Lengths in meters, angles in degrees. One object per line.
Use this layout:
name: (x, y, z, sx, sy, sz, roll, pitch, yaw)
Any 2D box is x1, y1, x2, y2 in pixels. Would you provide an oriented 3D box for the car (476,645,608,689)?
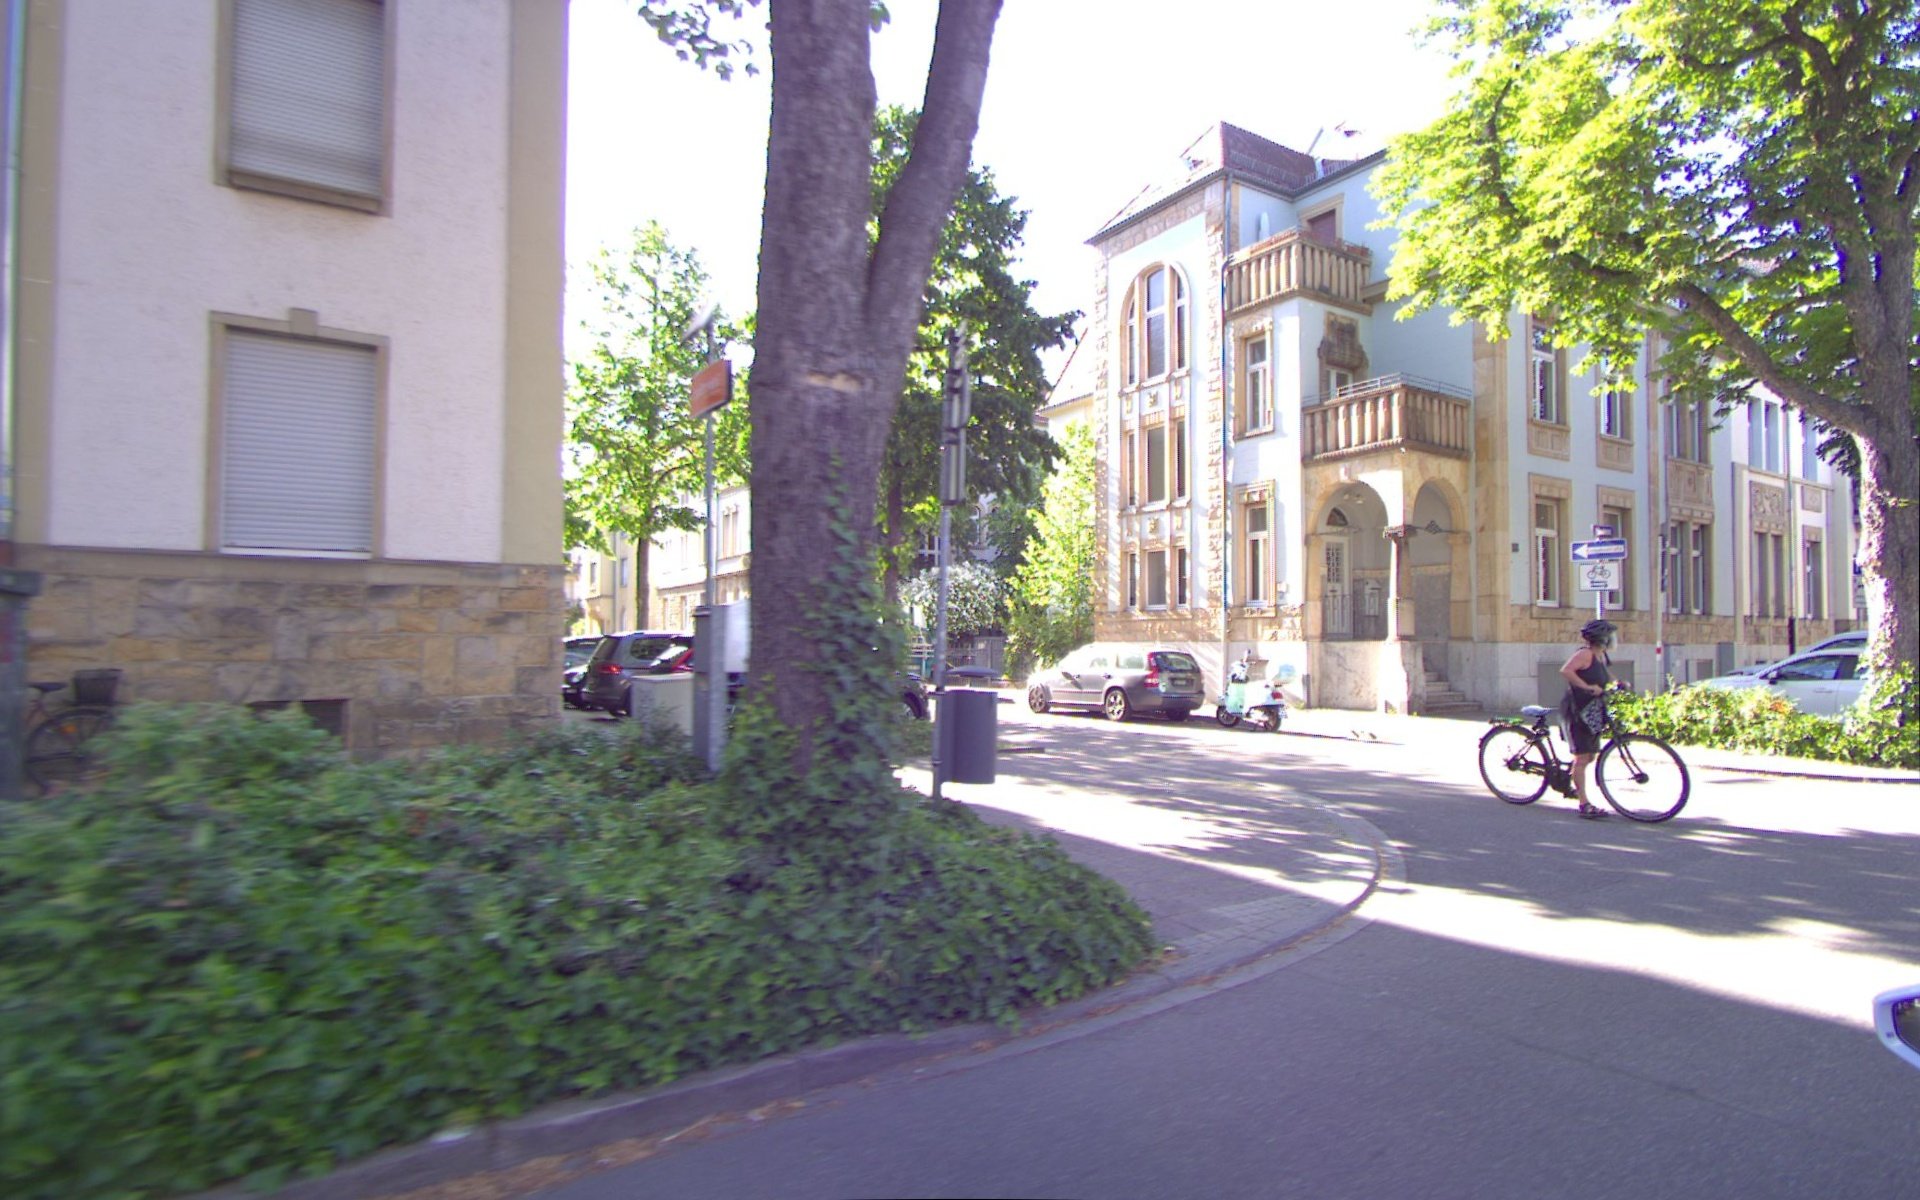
car: (-14.323, 2.269, 34.462, 3.954, 1.438, 1.790, 2, -3, -31)

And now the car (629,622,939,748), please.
car: (-2.613, 1.200, 15.153, 4.202, 1.661, 1.983, 2, -3, -31)

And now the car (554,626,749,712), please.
car: (-6.857, 1.493, 22.423, 3.847, 1.757, 1.787, 2, -3, -31)

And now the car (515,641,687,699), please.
car: (-9.321, 1.796, 26.162, 3.954, 1.405, 1.763, 2, -3, -31)

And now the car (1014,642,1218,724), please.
car: (3.058, 1.614, 20.593, 1.781, 1.484, 4.385, 2, -3, -31)

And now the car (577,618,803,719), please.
car: (-5.160, 1.273, 19.306, 3.847, 1.757, 1.787, 2, -3, -31)

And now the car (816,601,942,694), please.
car: (-2.484, 1.401, 29.828, 1.784, 2.530, 4.378, 2, -3, -35)

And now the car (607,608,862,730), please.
car: (-3.938, 1.165, 17.664, 3.955, 1.924, 1.983, 2, -3, -31)

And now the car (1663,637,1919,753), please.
car: (13.418, 1.409, 15.393, 1.781, 1.483, 3.960, 3, -1, -35)

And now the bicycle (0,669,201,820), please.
bicycle: (-7.171, 1.124, 8.031, 1.681, 1.112, 0.624, 2, -2, -33)

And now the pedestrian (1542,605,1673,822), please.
pedestrian: (5.424, 0.923, 8.428, 0.644, 1.716, 0.628, 1, -4, -28)

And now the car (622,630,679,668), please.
car: (-15.937, 2.513, 51.600, 1.781, 1.868, 4.385, 2, -3, -31)

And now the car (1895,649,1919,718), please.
car: (22.719, 1.809, 21.224, 1.842, 1.488, 3.969, 1, -2, -30)

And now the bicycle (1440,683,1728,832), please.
bicycle: (5.291, 1.282, 8.684, 0.750, 1.080, 1.983, 0, -4, -28)

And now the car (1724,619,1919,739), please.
car: (15.283, 1.283, 16.519, 1.780, 1.784, 3.960, 3, -1, -35)

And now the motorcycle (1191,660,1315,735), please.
motorcycle: (5.106, 1.678, 17.679, 0.886, 1.191, 2.207, 3, -4, -23)

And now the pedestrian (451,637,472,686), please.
pedestrian: (-16.487, 2.030, 33.200, 0.569, 1.583, 0.479, 2, -3, -31)
